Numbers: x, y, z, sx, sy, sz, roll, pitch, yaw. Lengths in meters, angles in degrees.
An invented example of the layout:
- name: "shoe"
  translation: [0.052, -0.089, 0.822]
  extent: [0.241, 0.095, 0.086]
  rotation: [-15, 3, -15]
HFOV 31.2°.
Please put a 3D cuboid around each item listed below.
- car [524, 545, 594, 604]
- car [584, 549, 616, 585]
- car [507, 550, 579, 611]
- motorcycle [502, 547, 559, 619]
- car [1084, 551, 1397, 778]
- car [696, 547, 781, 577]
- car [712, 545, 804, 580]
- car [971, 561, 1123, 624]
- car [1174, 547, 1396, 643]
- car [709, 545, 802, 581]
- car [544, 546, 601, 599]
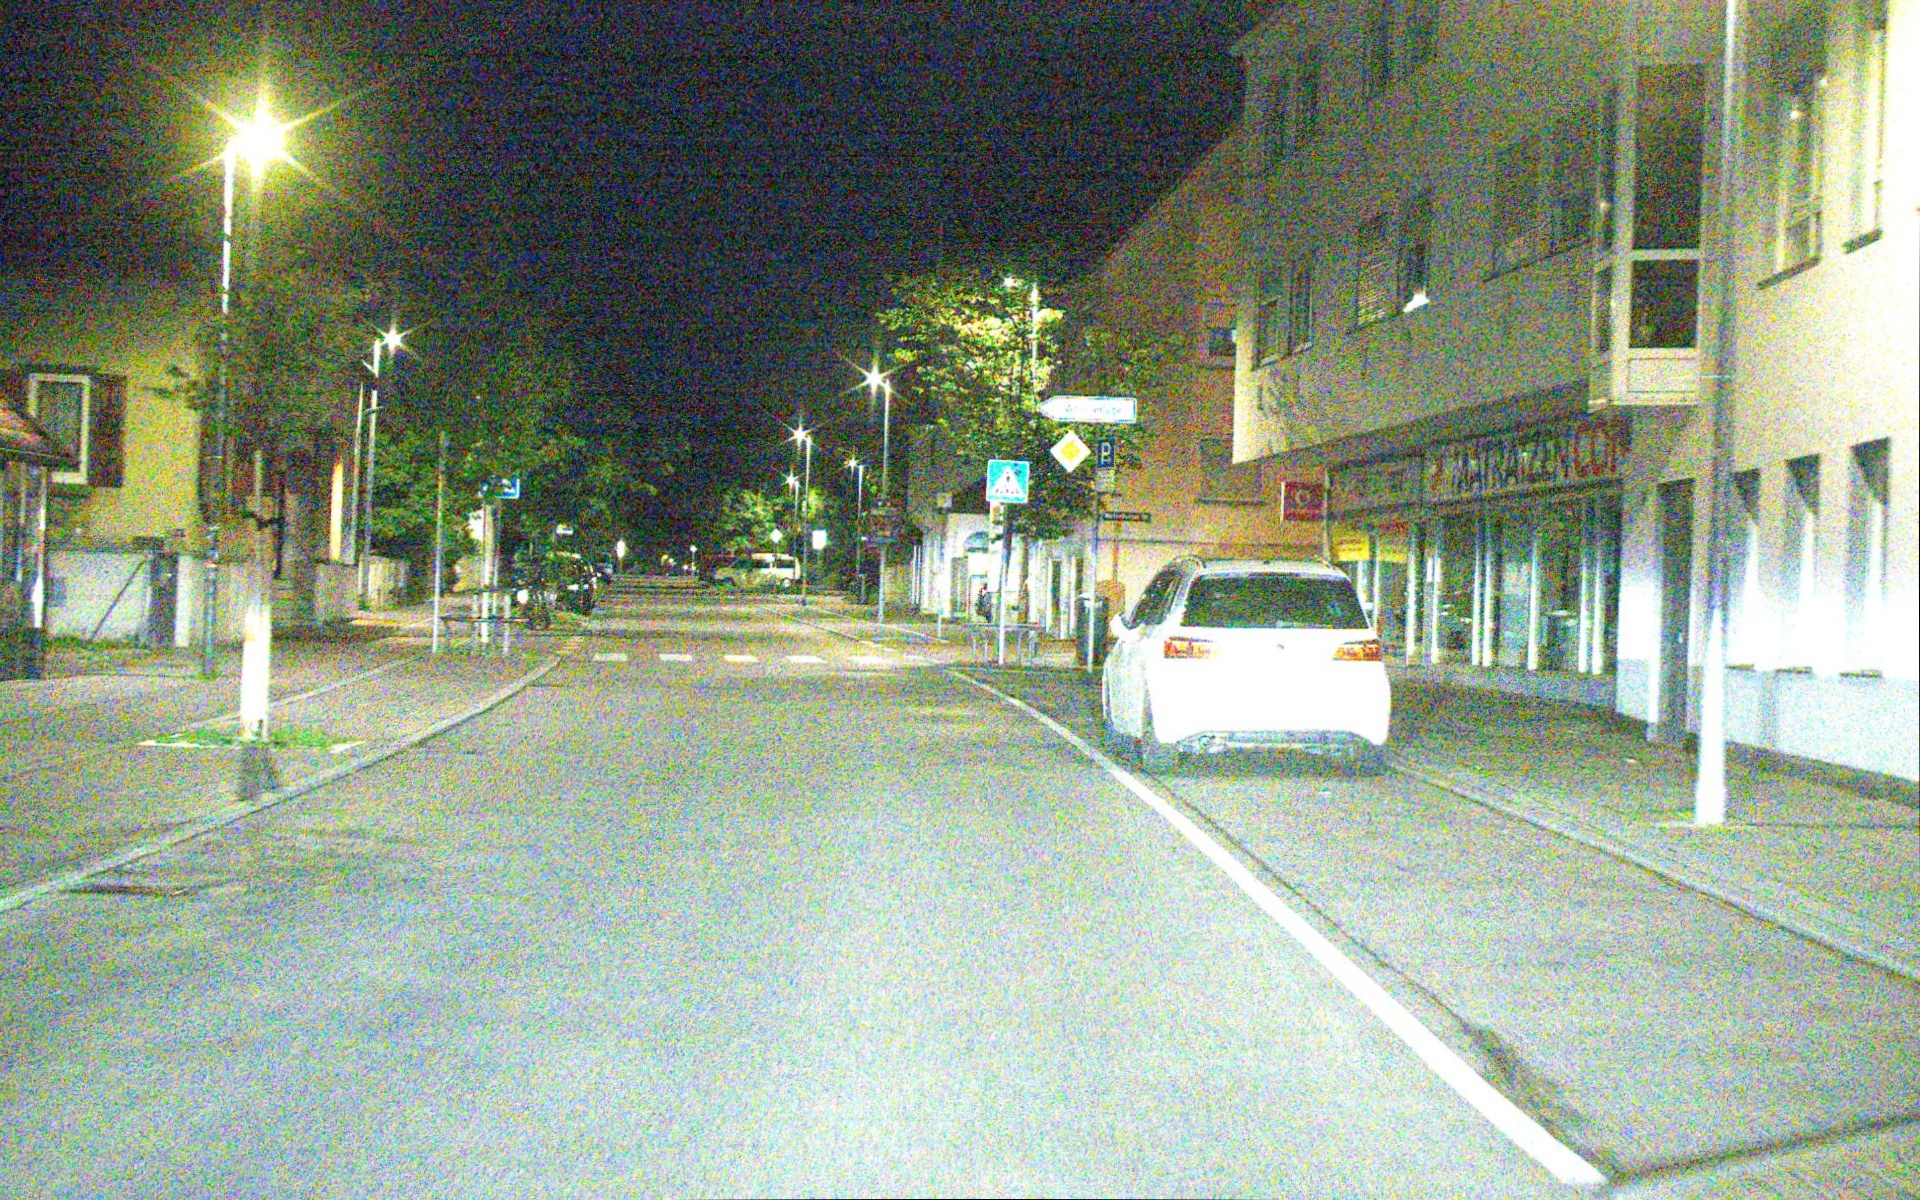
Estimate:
- name: "car"
  translation: [-10.995, -0.714, 94.407]
  extent: [1.766, 1.514, 4.279]
  rotation: [3, 0, -6]
- name: "car"
  translation: [-22.790, -2.098, 217.775]
  extent: [1.824, 1.980, 4.466]
  rotation: [3, -3, -7]
- name: "car"
  translation: [-10.854, -0.532, 89.708]
  extent: [1.687, 1.505, 4.279]
  rotation: [2, 1, -5]
- name: "motorcycle"
  translation: [-8.765, -0.350, 70.183]
  extent: [0.746, 1.447, 2.195]
  rotation: [1, 0, 3]
- name: "car"
  translation: [2.042, 0.427, 26.128]
  extent: [1.742, 1.563, 4.209]
  rotation: [1, 1, -4]
- name: "car"
  translation: [-14.135, -2.413, 219.678]
  extent: [5.183, 1.880, 2.101]
  rotation: [0, 1, 4]
- name: "car"
  translation: [-11.632, -2.184, 198.107]
  extent: [5.181, 2.007, 2.102]
  rotation: [0, 1, -7]
- name: "car"
  translation: [2.183, -0.198, 86.942]
  extent: [3.711, 1.468, 1.730]
  rotation: [2, 0, -2]
- name: "car"
  translation: [5.621, -0.100, 59.671]
  extent: [3.505, 1.519, 1.821]
  rotation: [-2, 1, -6]
- name: "car"
  translation: [-11.601, -2.114, 195.032]
  extent: [5.181, 2.007, 2.102]
  rotation: [0, 1, -7]
- name: "car"
  translation: [-12.216, -0.874, 108.378]
  extent: [1.671, 1.517, 2.979]
  rotation: [4, 0, -7]
